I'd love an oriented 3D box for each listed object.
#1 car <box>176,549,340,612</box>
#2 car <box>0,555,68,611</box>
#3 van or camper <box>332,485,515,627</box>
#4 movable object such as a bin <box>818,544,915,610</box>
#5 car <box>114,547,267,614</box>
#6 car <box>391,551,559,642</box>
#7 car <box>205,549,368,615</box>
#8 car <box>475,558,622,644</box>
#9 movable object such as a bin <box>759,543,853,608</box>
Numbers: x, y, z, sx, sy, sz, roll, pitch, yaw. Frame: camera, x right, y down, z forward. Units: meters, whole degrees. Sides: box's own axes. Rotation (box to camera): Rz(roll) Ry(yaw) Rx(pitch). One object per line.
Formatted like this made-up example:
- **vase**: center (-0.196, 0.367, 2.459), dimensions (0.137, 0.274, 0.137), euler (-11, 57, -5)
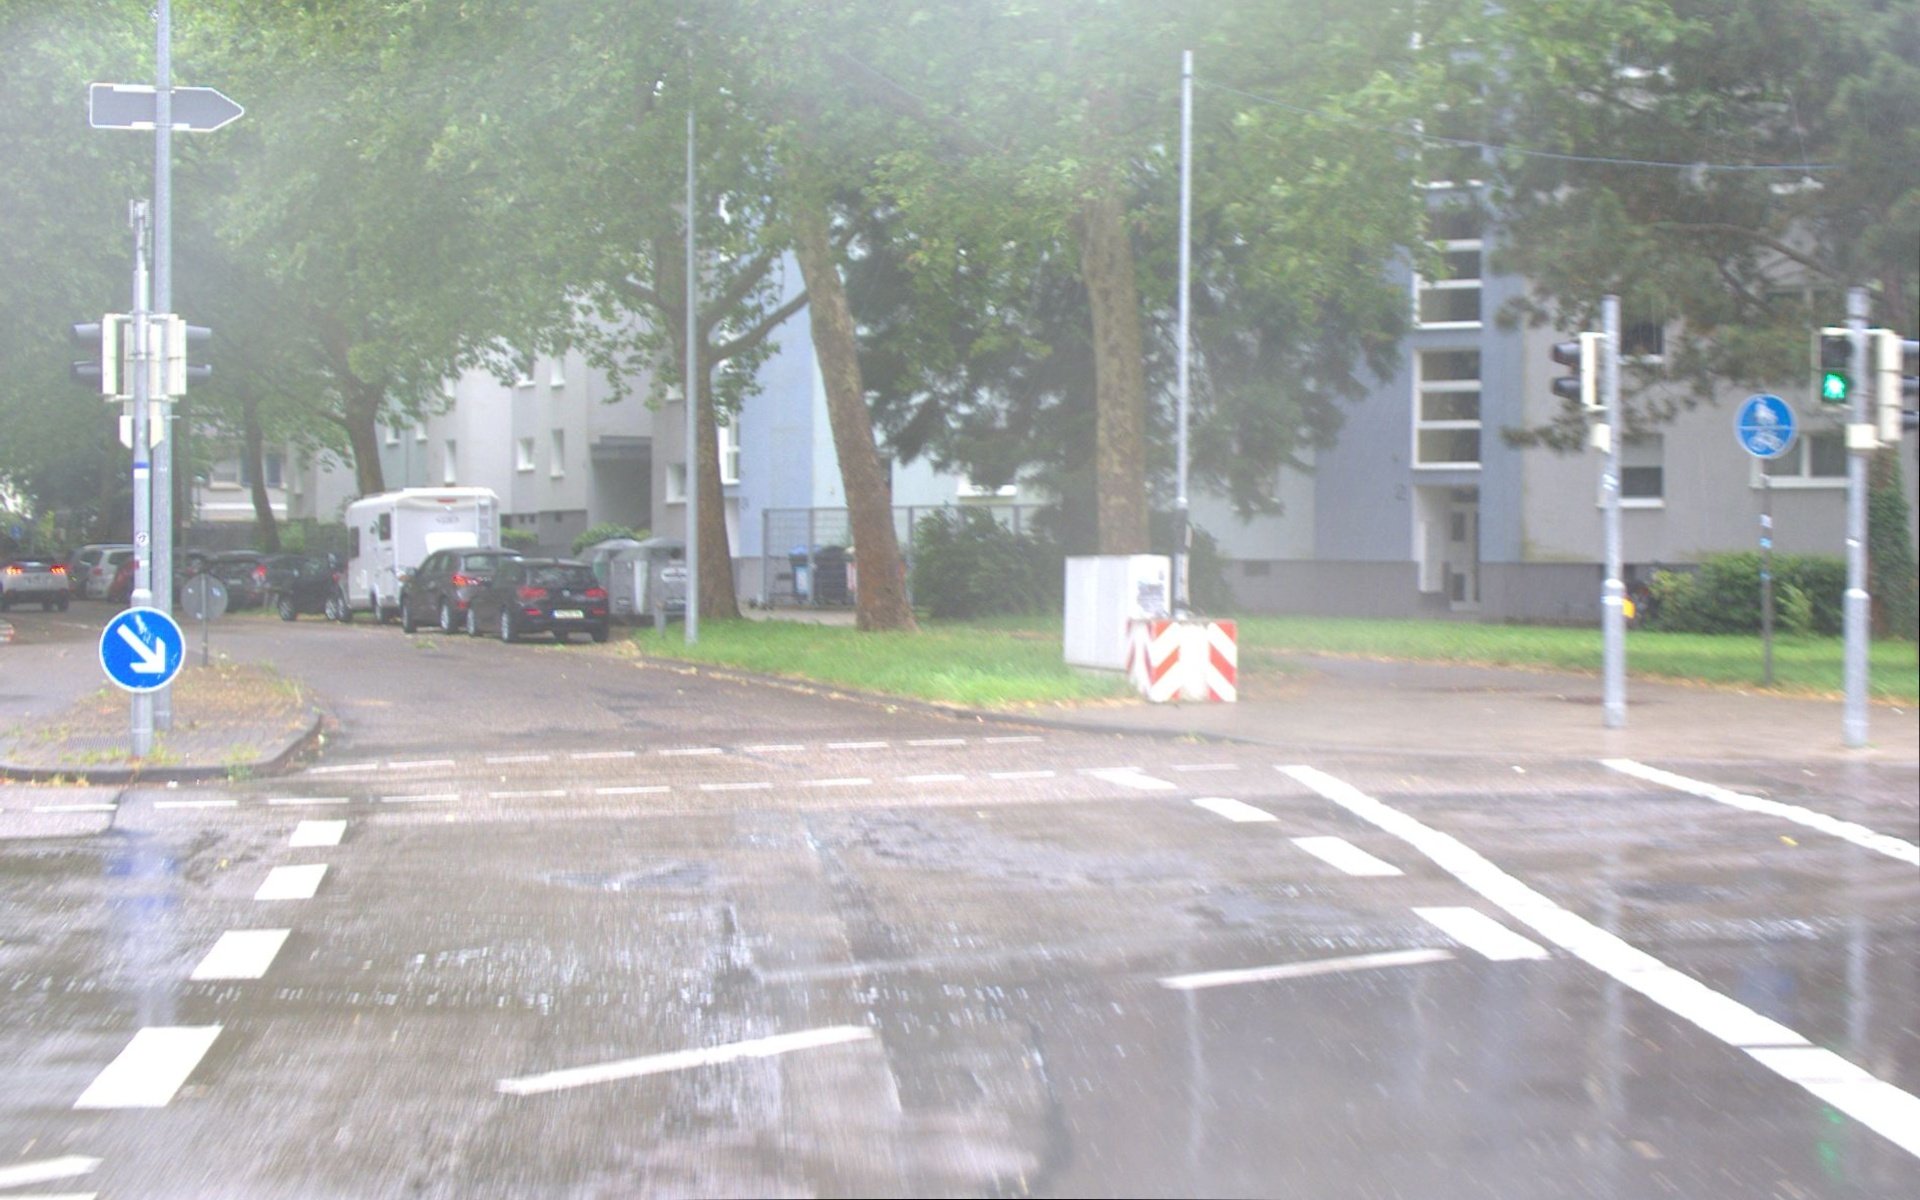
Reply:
- **car**: center (-18.312, -0.497, 89.821), dimensions (1.801, 1.596, 3.991), euler (2, 1, 37)
- **car**: center (-25.298, -0.469, 93.012), dimensions (1.706, 1.406, 3.645), euler (-2, 2, -23)
- **van or camper**: center (-11.287, -0.914, 71.795), dimensions (2.318, 2.798, 6.866), euler (1, 0, -21)
- **movable object such as a bin**: center (-2.087, -0.510, 76.598), dimensions (1.213, 1.427, 1.862), euler (1, 1, -41)
- **car**: center (-21.520, -0.553, 96.257), dimensions (1.836, 1.691, 3.859), euler (2, 3, 39)
- **car**: center (-9.081, -0.032, 64.105), dimensions (1.915, 1.615, 4.454), euler (1, -1, -24)
- **car**: center (-16.906, -0.453, 86.414), dimensions (1.801, 1.596, 3.761), euler (2, 1, 37)
- **car**: center (-7.136, -0.010, 59.323), dimensions (1.548, 1.385, 4.151), euler (1, 1, -21)
- **movable object such as a bin**: center (-3.504, -0.556, 77.889), dimensions (1.213, 1.427, 1.862), euler (1, 1, -41)
